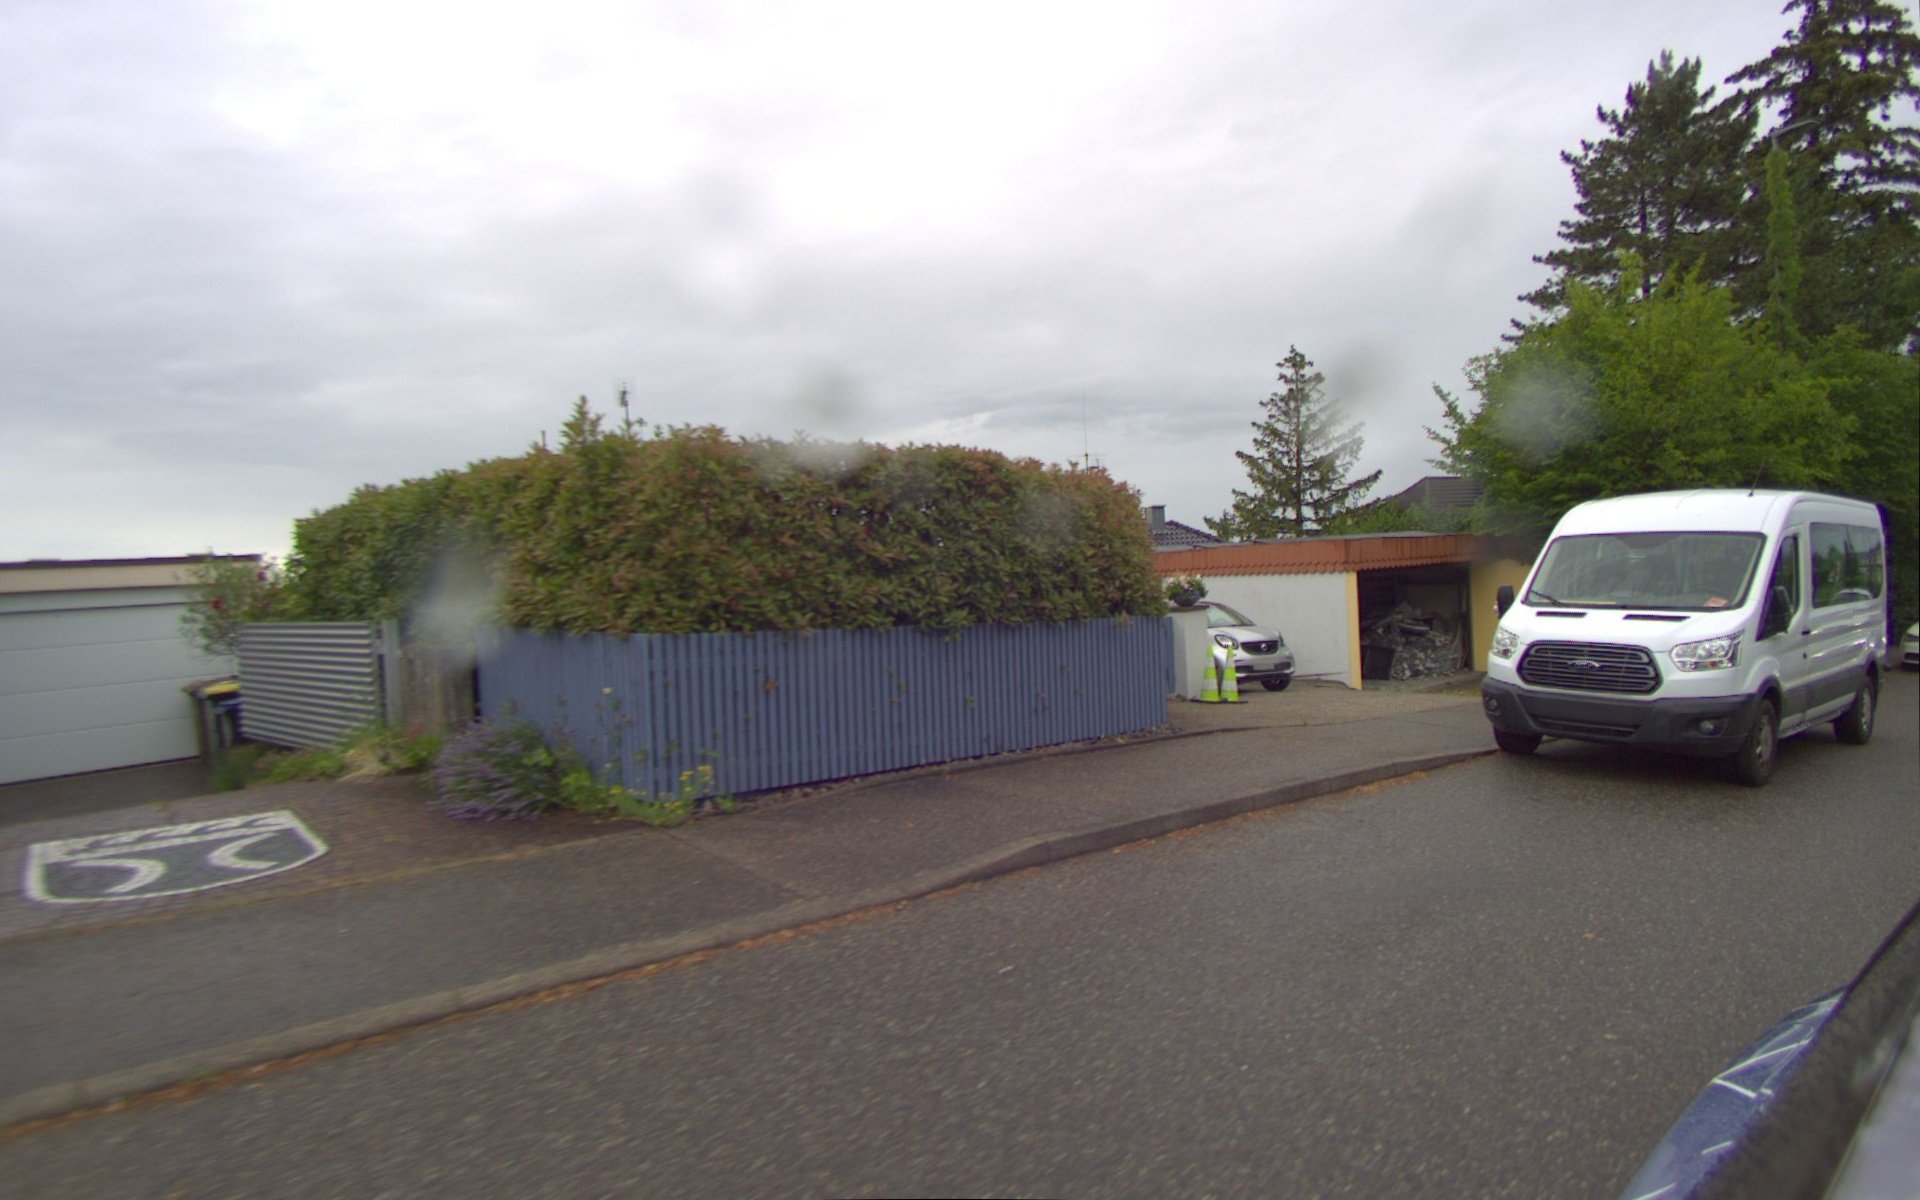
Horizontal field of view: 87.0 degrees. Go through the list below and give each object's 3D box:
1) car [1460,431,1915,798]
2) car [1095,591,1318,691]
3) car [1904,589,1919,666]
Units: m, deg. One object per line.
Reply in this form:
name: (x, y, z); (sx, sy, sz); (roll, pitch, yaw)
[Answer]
car: (7.321, 0.057, 9.841); (6.070, 2.582, 2.077); (-1, 1, -39)
car: (3.957, 0.745, 16.841); (1.624, 1.476, 3.598); (0, -5, -26)
car: (20.064, 0.508, 19.660); (3.924, 1.441, 1.755); (-1, 1, -35)
